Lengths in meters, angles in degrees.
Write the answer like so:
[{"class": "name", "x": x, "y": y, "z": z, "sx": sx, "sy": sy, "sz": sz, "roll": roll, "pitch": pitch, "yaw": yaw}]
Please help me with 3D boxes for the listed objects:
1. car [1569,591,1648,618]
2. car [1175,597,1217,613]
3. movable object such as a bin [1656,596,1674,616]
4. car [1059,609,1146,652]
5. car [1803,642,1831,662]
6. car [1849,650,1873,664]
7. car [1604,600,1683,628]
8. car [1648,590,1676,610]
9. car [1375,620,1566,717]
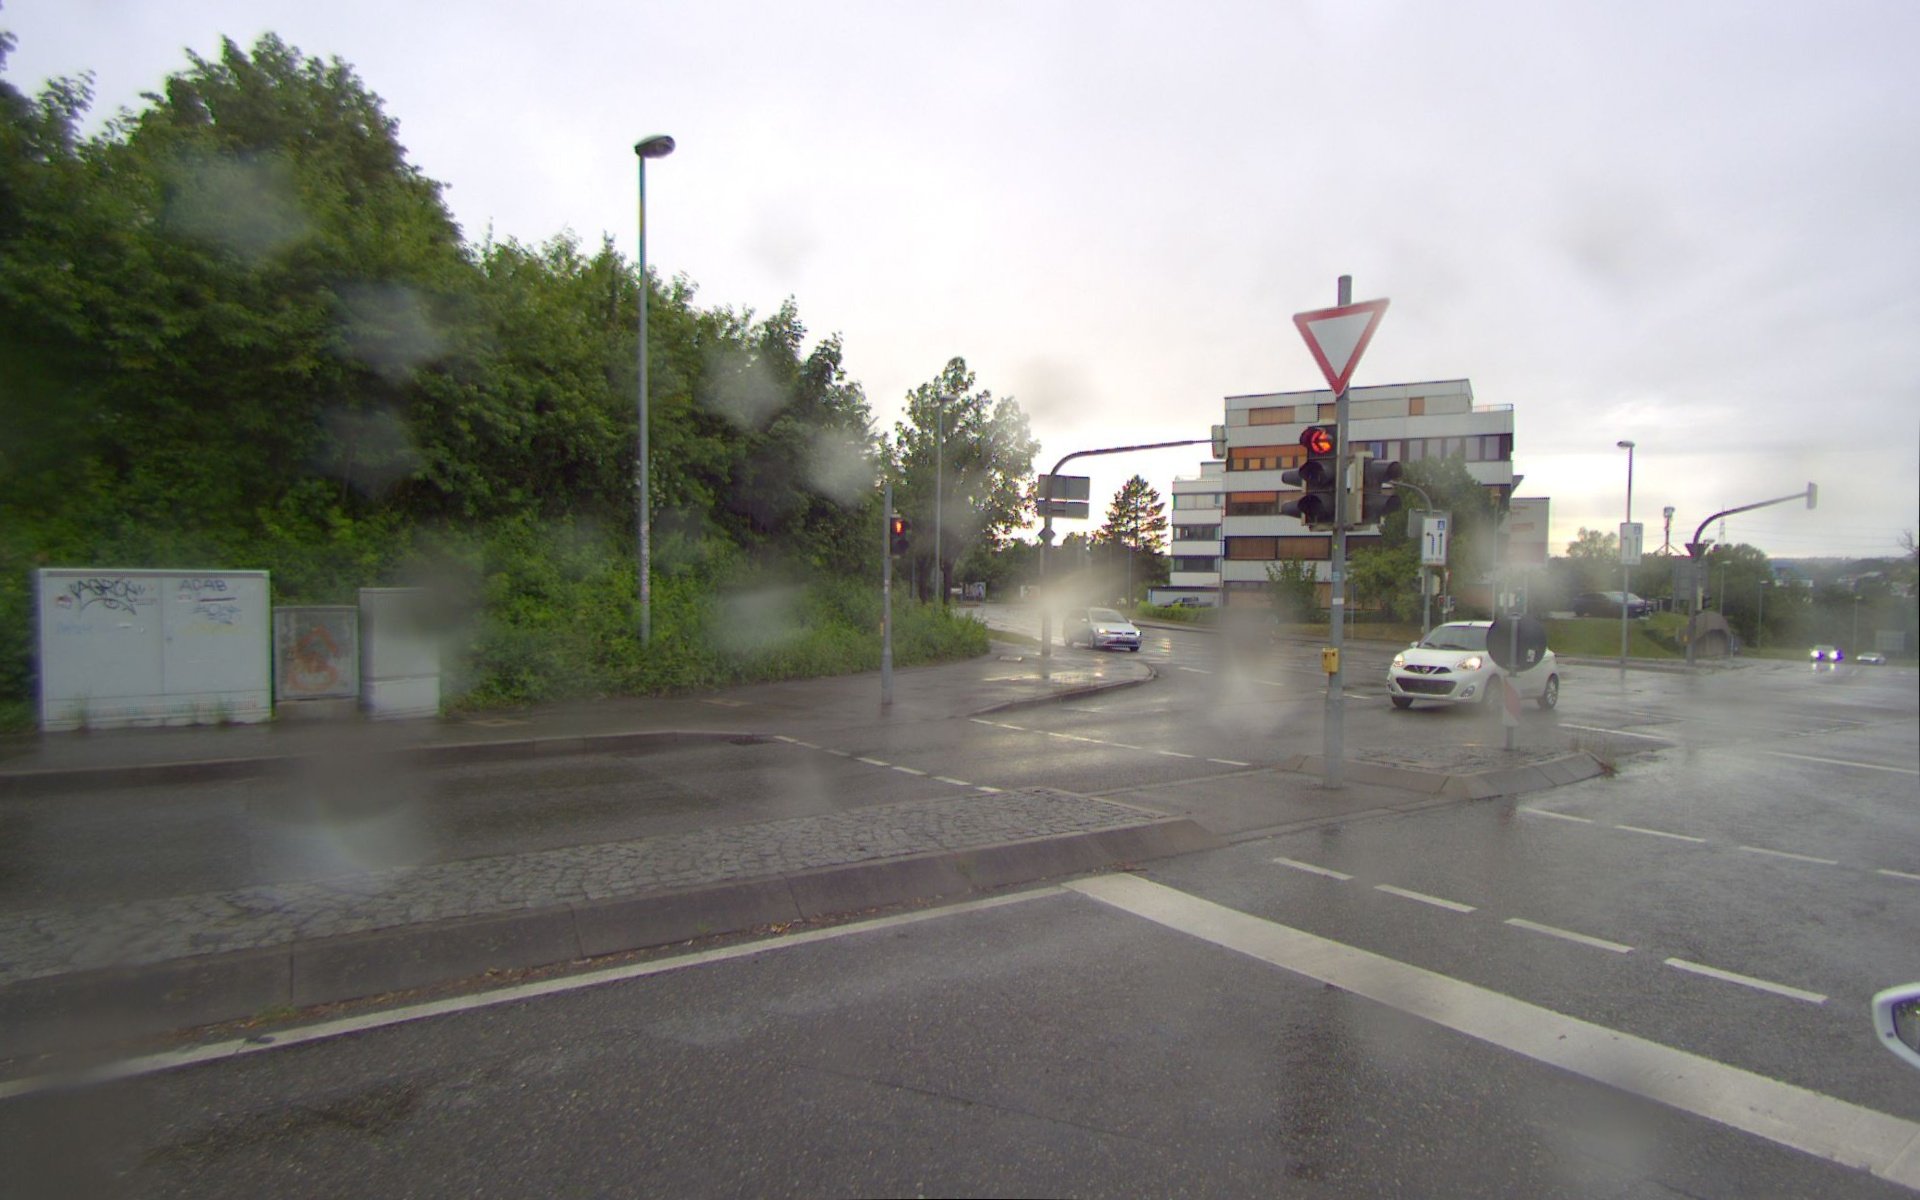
[{"class": "car", "x": 42.441, "y": 0.287, "z": 65.818, "sx": 1.874, "sy": 1.607, "sz": 3.981, "roll": 4, "pitch": 0, "yaw": -21}, {"class": "car", "x": 22.610, "y": 0.439, "z": 96.158, "sx": 3.686, "sy": 1.418, "sz": 2.000, "roll": 1, "pitch": 1, "yaw": 19}, {"class": "movable object such as a bin", "x": 55.730, "y": 0.479, "z": 79.398, "sx": 1.069, "sy": 1.456, "sz": 1.443, "roll": 3, "pitch": 0, "yaw": 34}, {"class": "car", "x": 5.101, "y": 1.068, "z": 36.536, "sx": 1.731, "sy": 1.381, "sz": 4.523, "roll": 2, "pitch": 0, "yaw": -11}, {"class": "car", "x": 73.076, "y": 4.406, "z": 85.690, "sx": 1.640, "sy": 1.514, "sz": 3.984, "roll": 2, "pitch": -1, "yaw": 38}, {"class": "car", "x": 105.352, "y": 6.667, "z": 117.426, "sx": 3.971, "sy": 1.514, "sz": 1.704, "roll": 3, "pitch": -1, "yaw": -43}, {"class": "car", "x": 45.098, "y": 0.901, "z": 66.370, "sx": 1.872, "sy": 1.607, "sz": 3.985, "roll": 4, "pitch": 0, "yaw": -17}, {"class": "car", "x": 60.923, "y": 0.038, "z": 87.265, "sx": 1.802, "sy": 1.461, "sz": 3.990, "roll": 3, "pitch": -1, "yaw": 33}, {"class": "car", "x": 9.047, "y": 1.126, "z": 17.693, "sx": 3.789, "sy": 1.525, "sz": 1.608, "roll": 1, "pitch": -1, "yaw": -39}]
